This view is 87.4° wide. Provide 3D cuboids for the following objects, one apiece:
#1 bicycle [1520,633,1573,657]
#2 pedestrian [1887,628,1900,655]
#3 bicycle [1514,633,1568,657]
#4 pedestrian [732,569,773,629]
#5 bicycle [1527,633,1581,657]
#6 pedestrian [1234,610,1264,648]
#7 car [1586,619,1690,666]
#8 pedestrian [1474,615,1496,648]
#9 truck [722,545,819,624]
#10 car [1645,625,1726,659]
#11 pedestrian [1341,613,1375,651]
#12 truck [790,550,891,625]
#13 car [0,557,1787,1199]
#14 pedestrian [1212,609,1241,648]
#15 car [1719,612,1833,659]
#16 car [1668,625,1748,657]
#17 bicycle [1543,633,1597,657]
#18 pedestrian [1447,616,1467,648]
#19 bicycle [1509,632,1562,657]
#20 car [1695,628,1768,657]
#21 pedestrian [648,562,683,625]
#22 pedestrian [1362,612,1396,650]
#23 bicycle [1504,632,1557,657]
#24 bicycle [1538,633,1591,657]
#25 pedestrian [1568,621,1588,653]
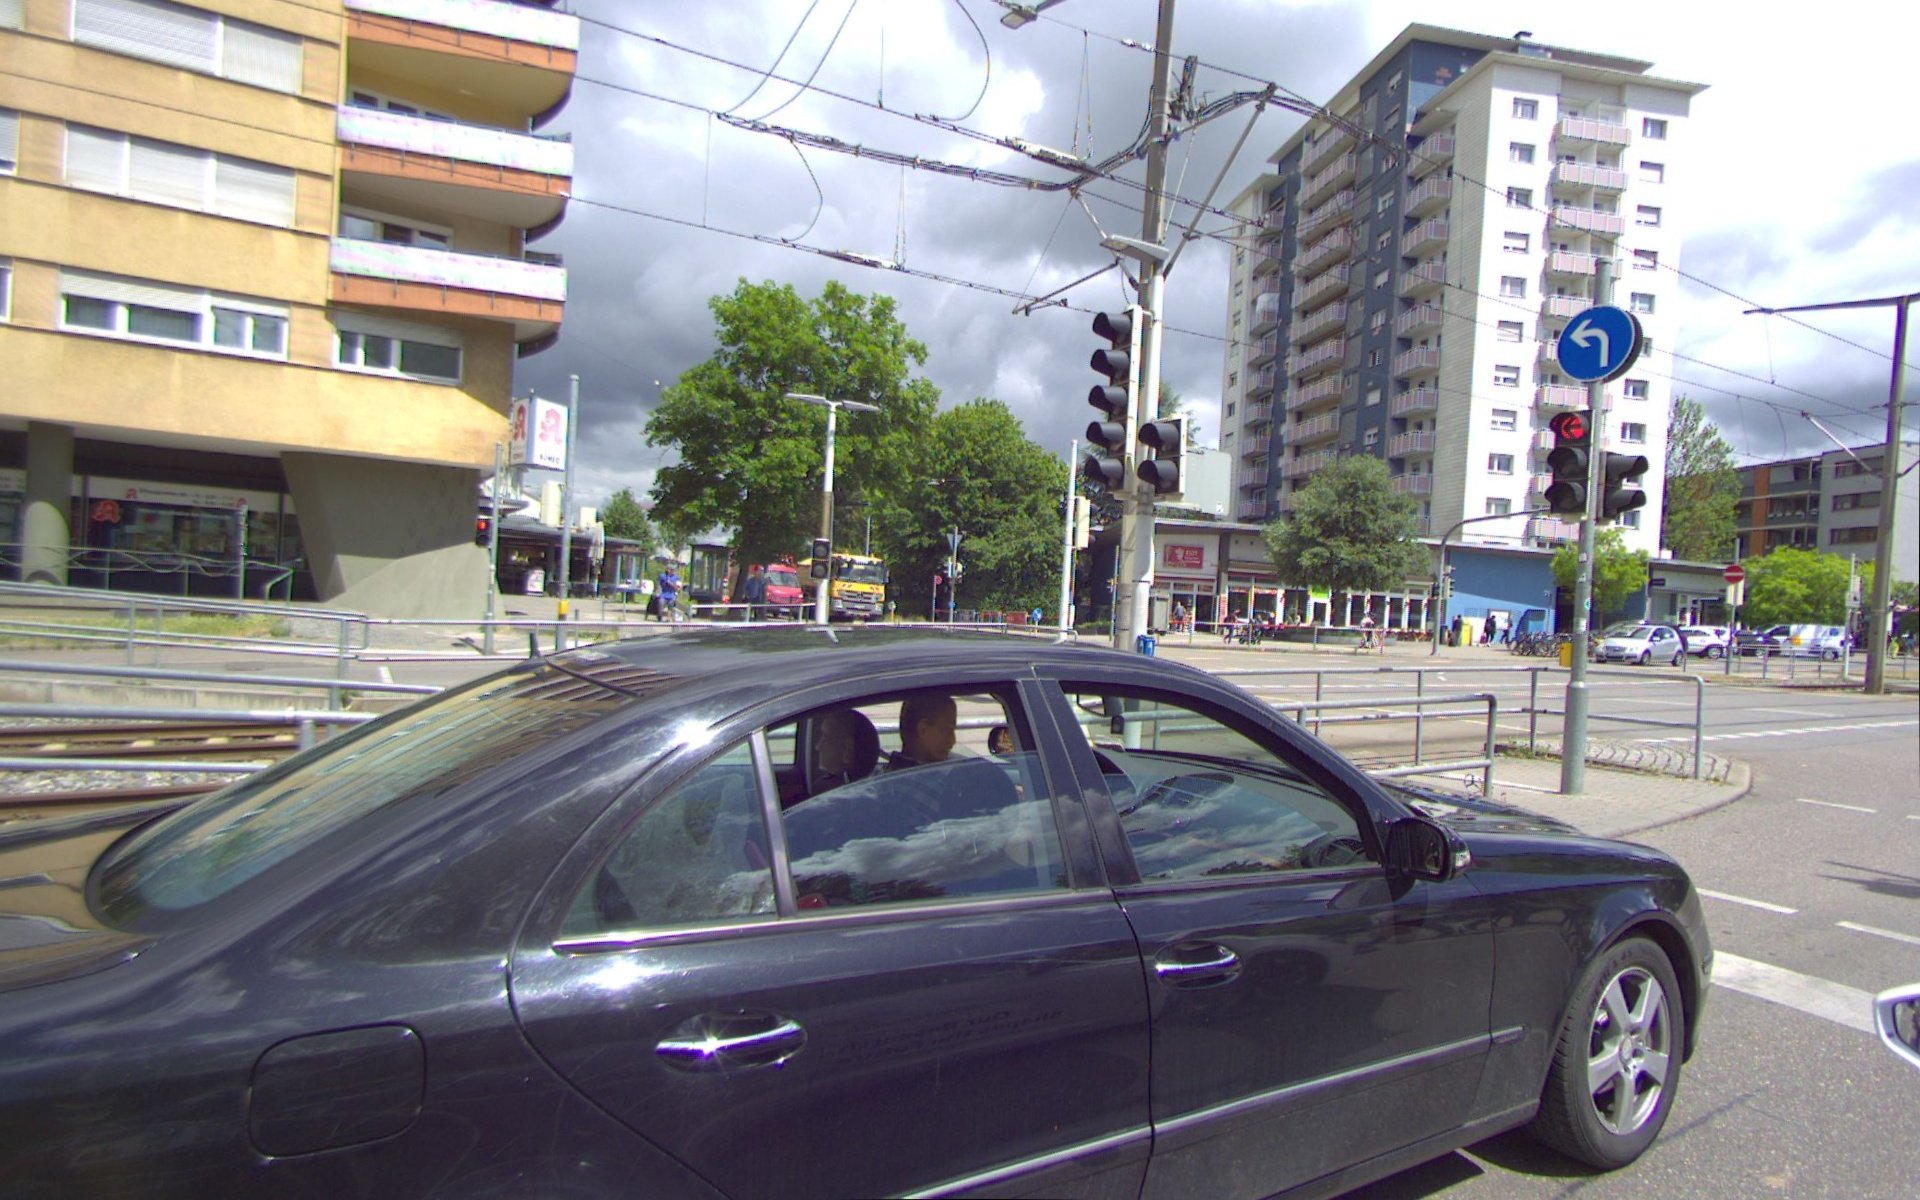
[{"bbox_3d":[25.190,1.916,43.175,0.490,0.947,1.933,2,0,-35],"label":"bicycle"},{"bbox_3d":[62.804,2.791,67.561,0.663,1.739,0.542,1,0,-40],"label":"pedestrian"},{"bbox_3d":[24.805,1.902,42.901,0.490,0.947,1.933,2,0,-35],"label":"bicycle"},{"bbox_3d":[-6.063,-0.020,29.391,0.750,1.636,0.780,7,1,11],"label":"pedestrian"},{"bbox_3d":[25.668,1.933,43.431,0.490,0.947,1.933,2,0,-35],"label":"bicycle"},{"bbox_3d":[13.050,1.313,45.390,0.977,1.681,0.969,2,-1,-4],"label":"pedestrian"},{"bbox_3d":[26.900,1.680,39.858,3.827,1.715,1.928,2,0,-30],"label":"car"},{"bbox_3d":[27.321,1.634,52.274,0.693,1.637,0.760,1,0,-43],"label":"pedestrian"},{"bbox_3d":[-9.116,-0.685,47.408,2.692,3.320,8.876,2,0,-23],"label":"truck"},{"bbox_3d":[37.883,2.150,52.610,1.921,1.591,4.220,2,0,13],"label":"car"},{"bbox_3d":[17.876,1.424,45.147,1.079,1.681,0.946,2,-1,-9],"label":"pedestrian"},{"bbox_3d":[-5.846,-0.560,47.963,2.733,3.244,7.442,2,0,-23],"label":"truck"},{"bbox_3d":[0.106,0.732,2.629,4.491,1.481,1.720,2,0,-30],"label":"car"},{"bbox_3d":[11.967,1.277,45.155,0.977,1.681,0.969,2,-1,-4],"label":"pedestrian"},{"bbox_3d":[47.505,2.000,58.739,2.776,2.511,6.724,2,0,17],"label":"car"},{"bbox_3d":[40.517,2.193,54.500,1.921,1.558,4.220,2,0,13],"label":"car"},{"bbox_3d":[26.625,1.966,43.867,0.490,0.947,1.933,2,0,-35],"label":"bicycle"},{"bbox_3d":[25.352,1.627,51.212,0.757,1.637,0.695,2,0,38],"label":"pedestrian"},{"bbox_3d":[24.395,1.887,42.611,0.490,0.947,1.933,2,0,-35],"label":"bicycle"},{"bbox_3d":[43.030,2.334,56.110,1.754,1.439,4.219,2,0,15],"label":"car"},{"bbox_3d":[-7.975,-0.177,27.189,0.757,1.638,0.773,-1,5,-31],"label":"pedestrian"},{"bbox_3d":[19.000,1.401,45.554,1.079,1.681,0.946,2,-1,-9],"label":"pedestrian"},{"bbox_3d":[24.025,1.873,42.332,0.490,0.947,1.933,2,0,-35],"label":"bicycle"},{"bbox_3d":[26.214,1.951,43.573,0.490,0.947,1.933,2,0,-35],"label":"bicycle"},{"bbox_3d":[33.128,1.971,53.858,0.694,1.637,0.759,1,0,-45],"label":"pedestrian"}]
